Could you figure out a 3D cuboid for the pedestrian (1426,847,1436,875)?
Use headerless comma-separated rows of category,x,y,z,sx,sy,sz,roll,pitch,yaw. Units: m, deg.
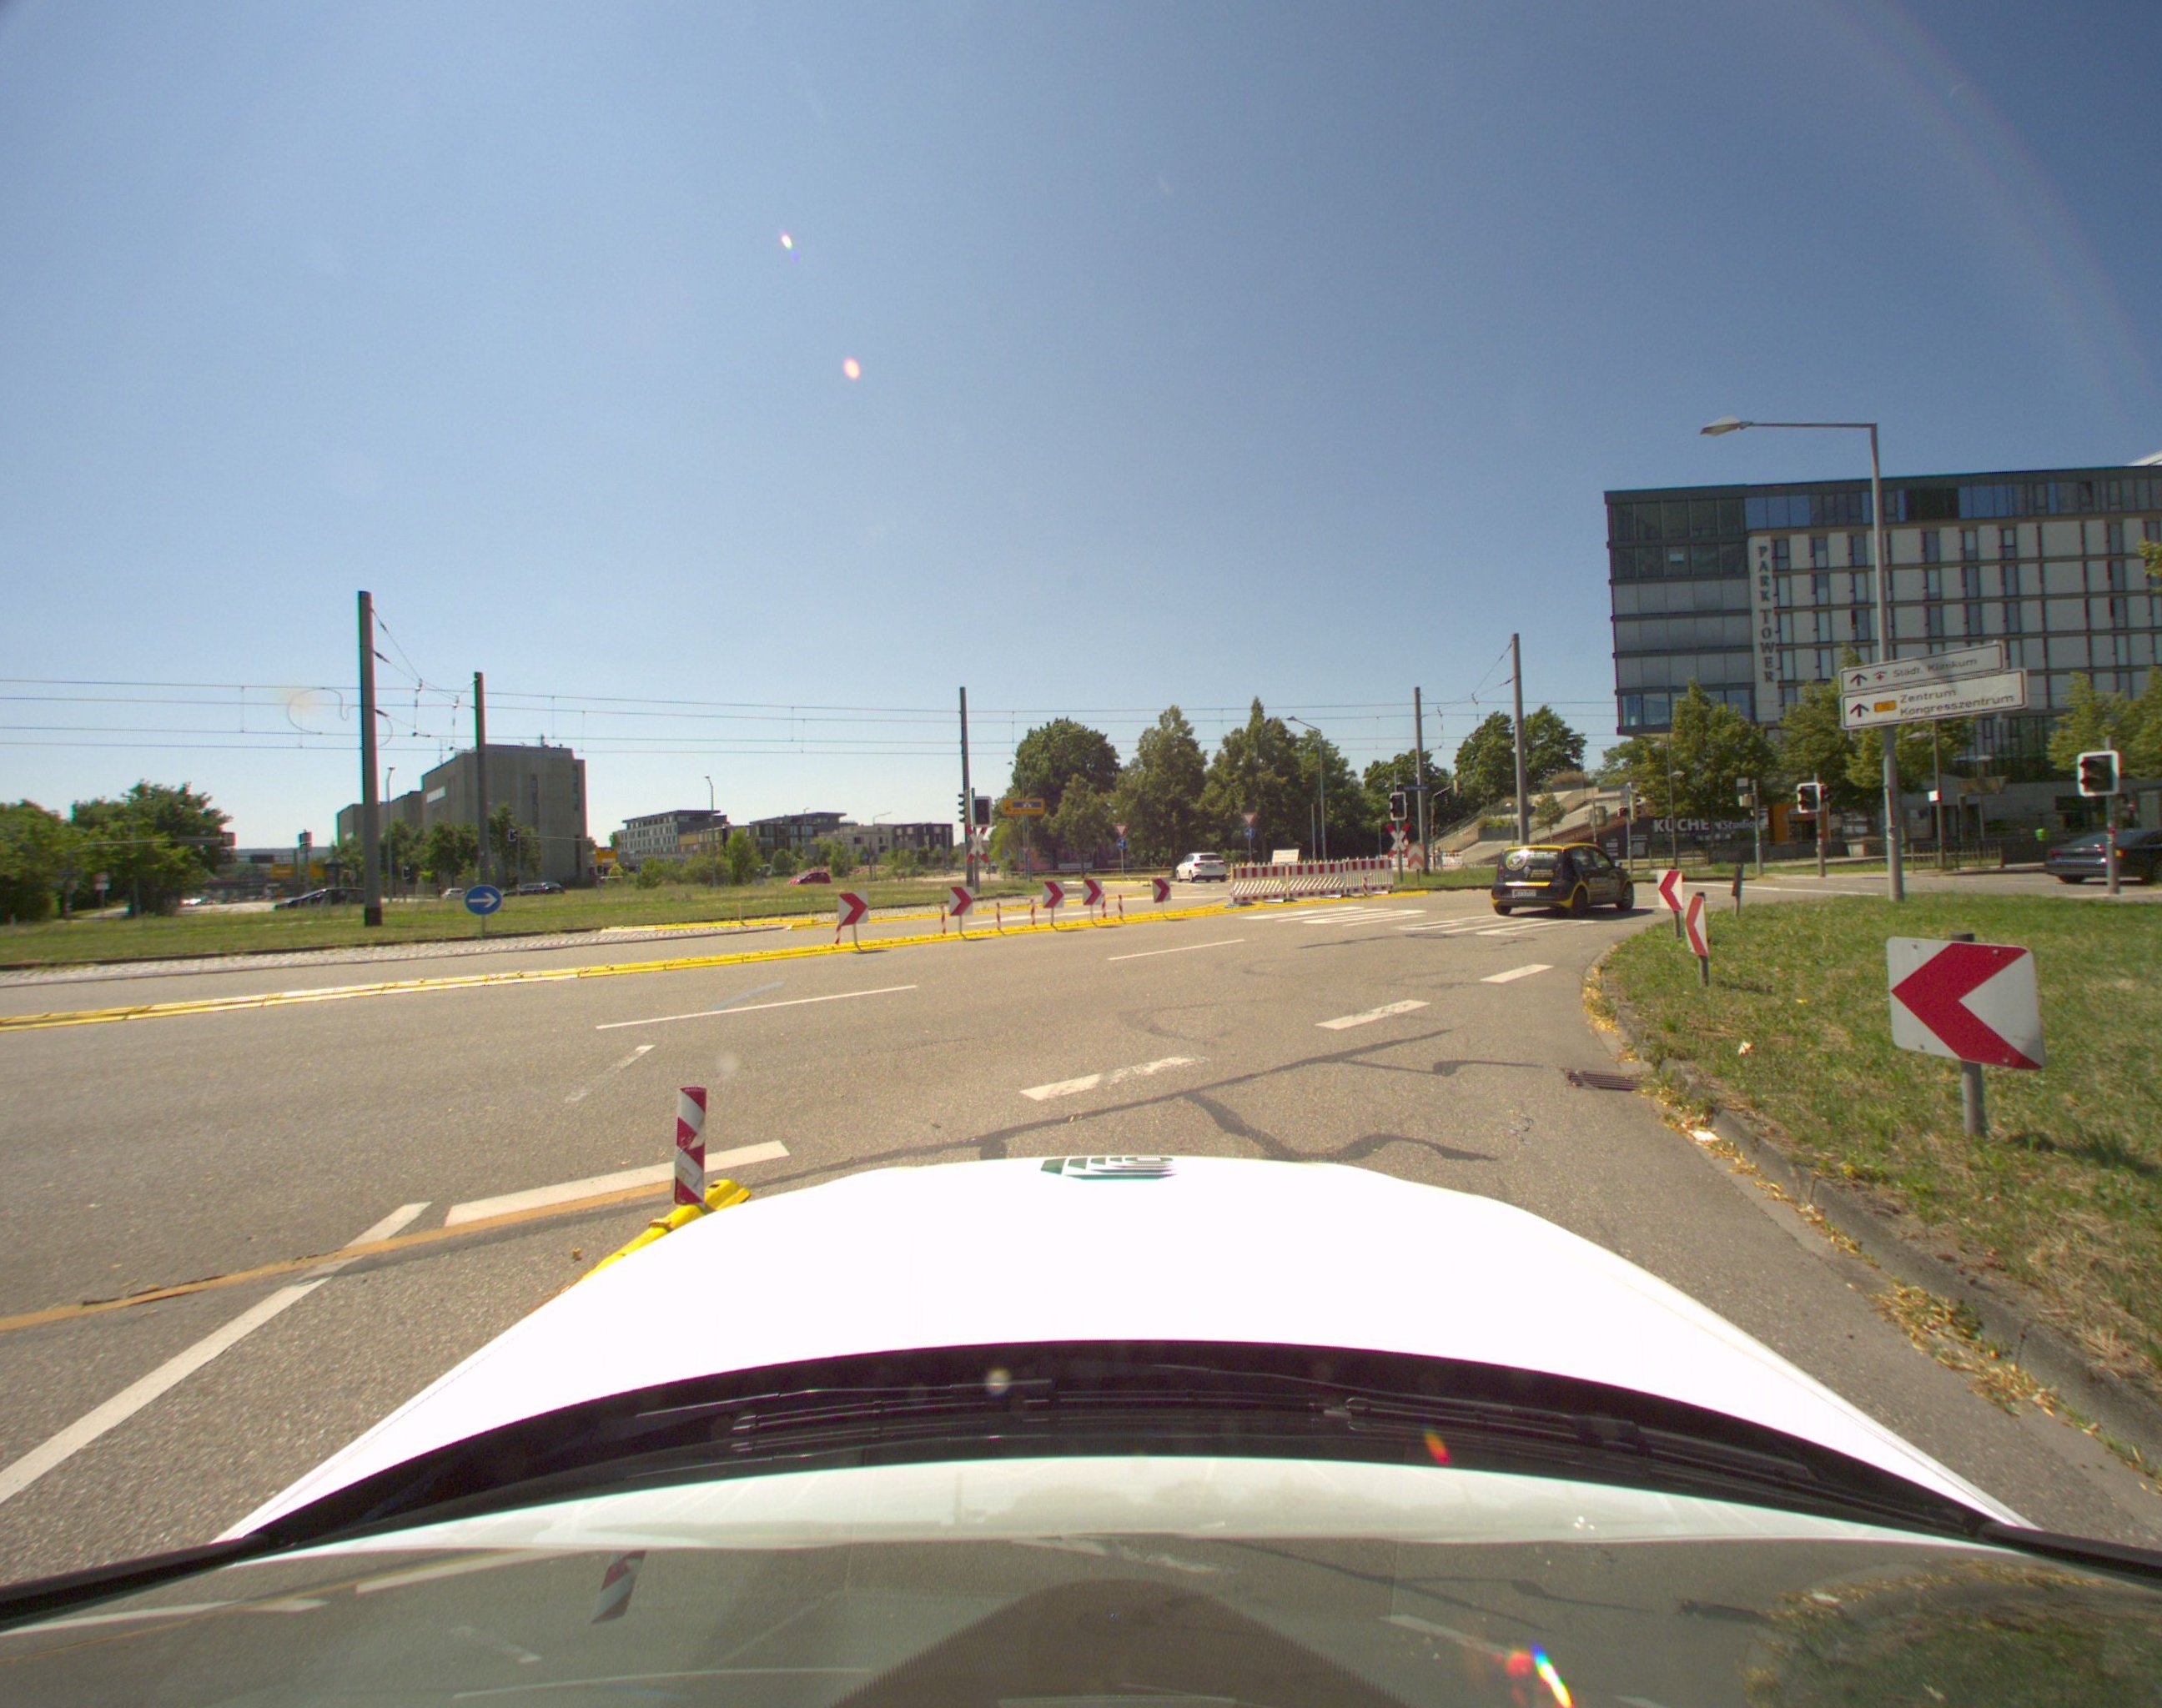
pedestrian,21.935,0.440,51.042,0.446,1.739,0.291,-2,-1,0

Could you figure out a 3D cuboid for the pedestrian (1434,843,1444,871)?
pedestrian,22.441,0.193,51.013,0.446,1.739,0.318,-2,-1,0

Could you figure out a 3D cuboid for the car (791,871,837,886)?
car,-22.992,2.090,70.225,1.478,1.089,3.543,-2,0,38

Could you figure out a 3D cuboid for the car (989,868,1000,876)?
car,-15.642,3.271,147.269,1.654,1.372,3.029,-2,-1,-2

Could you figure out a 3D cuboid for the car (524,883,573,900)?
car,-41.121,2.903,62.895,3.434,1.192,1.564,-2,0,25

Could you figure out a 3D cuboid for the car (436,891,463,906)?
car,-70.326,4.912,90.640,2.011,1.618,3.951,0,-2,-43

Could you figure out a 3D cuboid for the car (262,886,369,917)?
car,-43.072,2.628,45.884,1.707,1.461,4.074,-2,-1,33

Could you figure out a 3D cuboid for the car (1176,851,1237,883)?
car,6.266,0.641,41.152,1.990,1.486,4.358,-2,0,-5

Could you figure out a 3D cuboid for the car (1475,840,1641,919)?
car,9.904,0.468,16.793,4.006,1.451,1.605,-1,-1,-39

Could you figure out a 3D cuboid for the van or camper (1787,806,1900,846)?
van or camper,60.286,-2.196,64.475,6.746,2.822,2.381,-2,-1,-2

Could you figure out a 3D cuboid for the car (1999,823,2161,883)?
car,27.187,-0.045,21.149,4.624,1.449,1.998,-1,-1,-3
